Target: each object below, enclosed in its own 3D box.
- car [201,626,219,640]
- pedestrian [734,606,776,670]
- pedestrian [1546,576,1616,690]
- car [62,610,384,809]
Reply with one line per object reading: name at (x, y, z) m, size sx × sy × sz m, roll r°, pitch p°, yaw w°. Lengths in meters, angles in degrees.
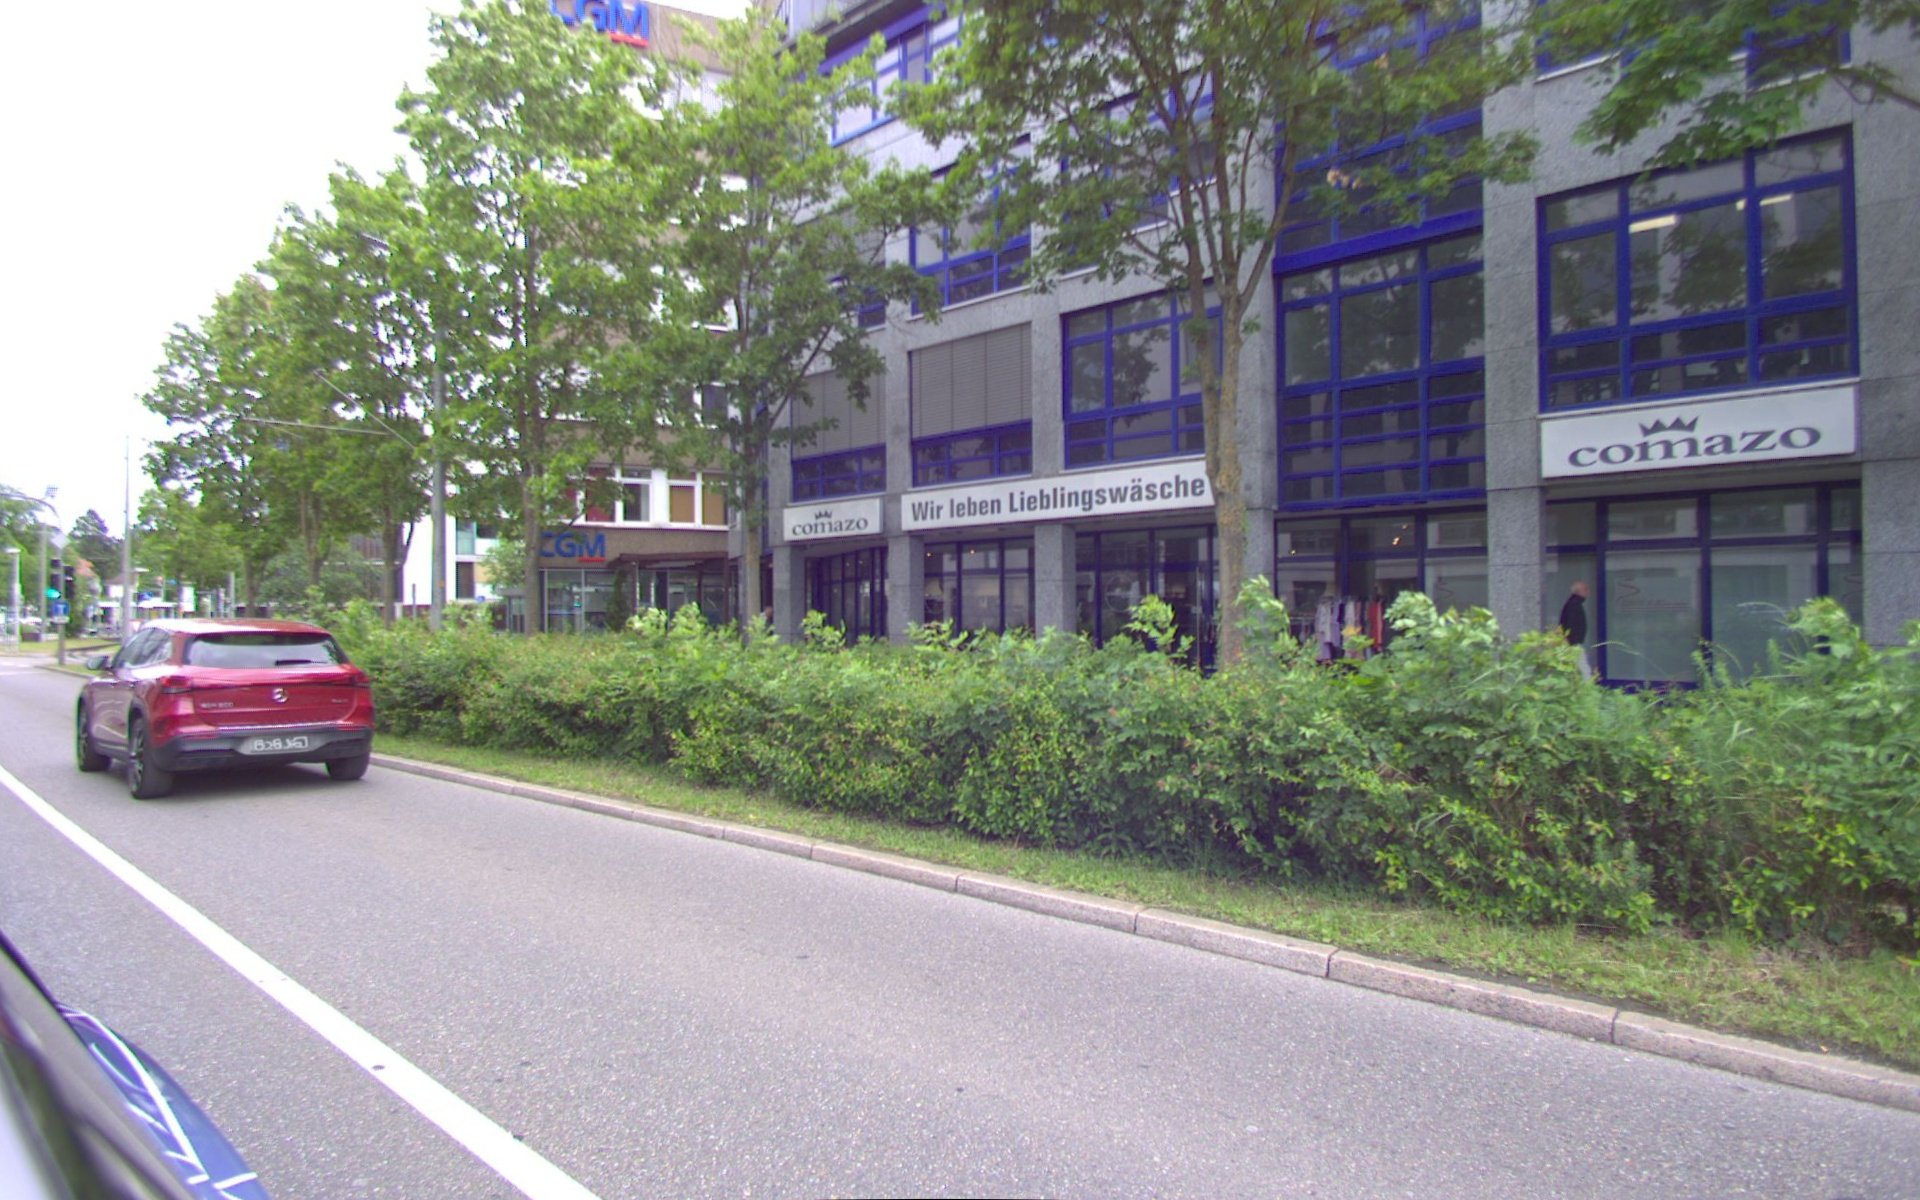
car at (-109.848, 4.749, 148.222) m, size 1.967 × 1.913 × 4.010 m, roll -1°, pitch 0°, yaw -34°
pedestrian at (-4.914, 0.905, 24.238) m, size 0.675 × 1.493 × 0.693 m, roll -2°, pitch 0°, yaw 25°
pedestrian at (8.464, 0.436, 13.791) m, size 0.679 × 1.493 × 0.690 m, roll -2°, pitch 0°, yaw 41°
car at (-7.536, 0.949, 10.202) m, size 4.133 × 1.601 × 1.732 m, roll -2°, pitch -3°, yaw 41°
